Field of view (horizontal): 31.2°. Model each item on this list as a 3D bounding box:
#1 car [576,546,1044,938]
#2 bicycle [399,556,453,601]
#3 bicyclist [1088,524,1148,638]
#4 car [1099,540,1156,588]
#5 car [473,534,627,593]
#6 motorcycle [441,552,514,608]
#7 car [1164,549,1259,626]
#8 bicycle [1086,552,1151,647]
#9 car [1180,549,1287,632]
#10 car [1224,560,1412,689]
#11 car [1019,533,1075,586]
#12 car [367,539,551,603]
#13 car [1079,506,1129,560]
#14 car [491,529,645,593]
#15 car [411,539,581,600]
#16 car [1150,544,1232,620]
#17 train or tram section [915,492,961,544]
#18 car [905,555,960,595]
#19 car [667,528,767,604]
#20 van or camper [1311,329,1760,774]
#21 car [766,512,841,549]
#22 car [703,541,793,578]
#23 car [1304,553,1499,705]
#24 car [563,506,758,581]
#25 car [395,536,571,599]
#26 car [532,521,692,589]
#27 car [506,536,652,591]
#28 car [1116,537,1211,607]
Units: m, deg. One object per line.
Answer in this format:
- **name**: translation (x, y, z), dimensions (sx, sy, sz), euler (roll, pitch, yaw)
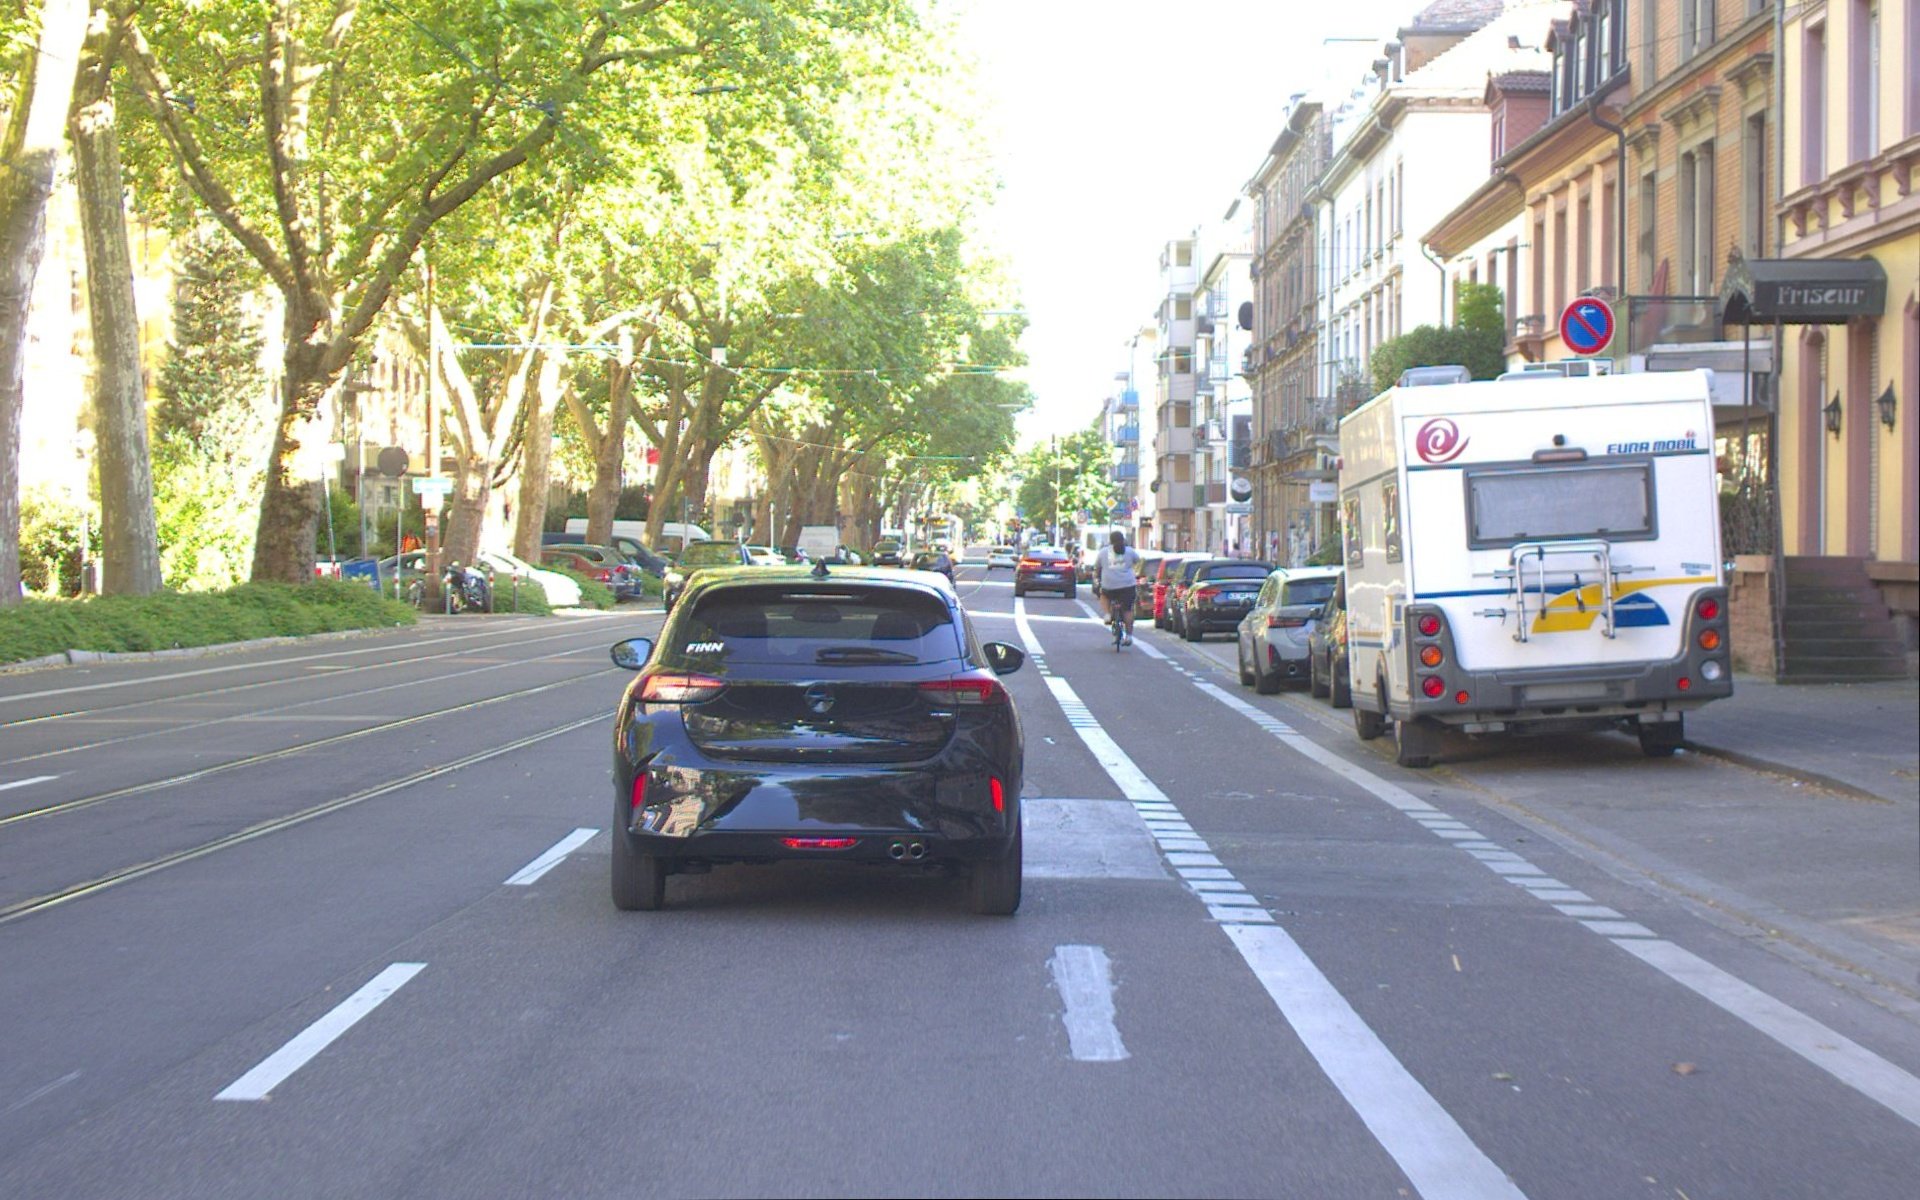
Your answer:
- **car**: translation (-0.558, 0.525, 15.110), dimensions (1.794, 1.436, 3.531), euler (1, 2, 1)
- **bicycle**: translation (-11.472, -0.468, 73.932), dimensions (0.541, 0.937, 2.033), euler (1, 1, 9)
- **bicyclist**: translation (2.442, -0.305, 53.305), dimensions (0.848, 1.734, 1.162), euler (1, 1, 0)
- **car**: translation (5.511, -1.189, 112.649), dimensions (1.705, 1.451, 3.697), euler (-3, 1, 4)
- **car**: translation (-11.158, -0.992, 93.721), dimensions (3.920, 1.437, 1.749), euler (2, 1, 2)
- **motorcycle**: translation (-10.369, -0.438, 73.926), dimensions (0.885, 1.143, 2.390), euler (1, 1, 9)
- **car**: translation (4.913, -0.263, 67.569), dimensions (1.651, 1.451, 3.868), euler (0, 1, 1)
- **bicycle**: translation (2.448, -0.024, 53.255), dimensions (0.860, 1.402, 2.524), euler (1, 1, 0)
- **car**: translation (4.753, -0.195, 60.259), dimensions (1.694, 1.388, 4.494), euler (-1, 1, 2)
- **car**: translation (4.228, 0.250, 41.197), dimensions (1.809, 1.430, 4.665), euler (-1, 1, 1)
- **car**: translation (2.916, -1.358, 114.649), dimensions (1.810, 1.736, 3.933), euler (1, 1, 2)
- **car**: translation (-11.608, -0.682, 79.774), dimensions (3.920, 1.327, 1.847), euler (2, 1, 2)
- **car**: translation (6.291, -2.916, 150.217), dimensions (2.075, 2.211, 4.933), euler (-3, 1, 2)
- **car**: translation (-10.922, -1.088, 95.933), dimensions (3.995, 1.621, 1.879), euler (2, 1, 1)
- **car**: translation (-11.475, -0.764, 85.150), dimensions (3.920, 1.457, 1.805), euler (1, 1, 2)
- **car**: translation (4.828, -0.393, 72.161), dimensions (1.634, 1.541, 3.576), euler (0, 1, 2)
- **train or tram section**: translation (-1.563, -5.808, 245.966), dimensions (2.735, 3.669, 12.716), euler (0, 1, 2)
- **car**: translation (-0.958, -0.885, 121.245), dimensions (1.810, 1.333, 3.933), euler (1, 1, 1)
- **car**: translation (-5.433, -0.790, 77.424), dimensions (1.866, 1.624, 4.560), euler (0, 2, 1)
- **van or camper**: translation (4.371, -0.393, 27.664), dimensions (2.477, 2.962, 7.883), euler (-3, 1, 2)
- **car**: translation (-8.389, -3.726, 184.240), dimensions (3.919, 1.784, 1.677), euler (2, 1, -1)
- **car**: translation (-9.448, -1.830, 153.569), dimensions (3.919, 1.493, 1.677), euler (2, 1, -1)
- **car**: translation (4.598, 0.262, 36.264), dimensions (1.645, 1.429, 4.029), euler (-3, 1, 2)
- **car**: translation (-10.659, -2.011, 122.855), dimensions (6.628, 2.401, 2.458), euler (2, 1, 2)
- **car**: translation (-11.435, -0.791, 82.580), dimensions (3.921, 1.448, 1.800), euler (1, 1, 1)
- **car**: translation (-10.891, -1.408, 107.764), dimensions (4.675, 1.917, 1.980), euler (2, 1, 3)
- **car**: translation (-10.886, -1.054, 98.339), dimensions (3.920, 1.417, 1.819), euler (2, 1, 0)
- **car**: translation (4.918, -0.688, 83.537), dimensions (1.880, 1.580, 3.933), euler (-3, 1, -2)
